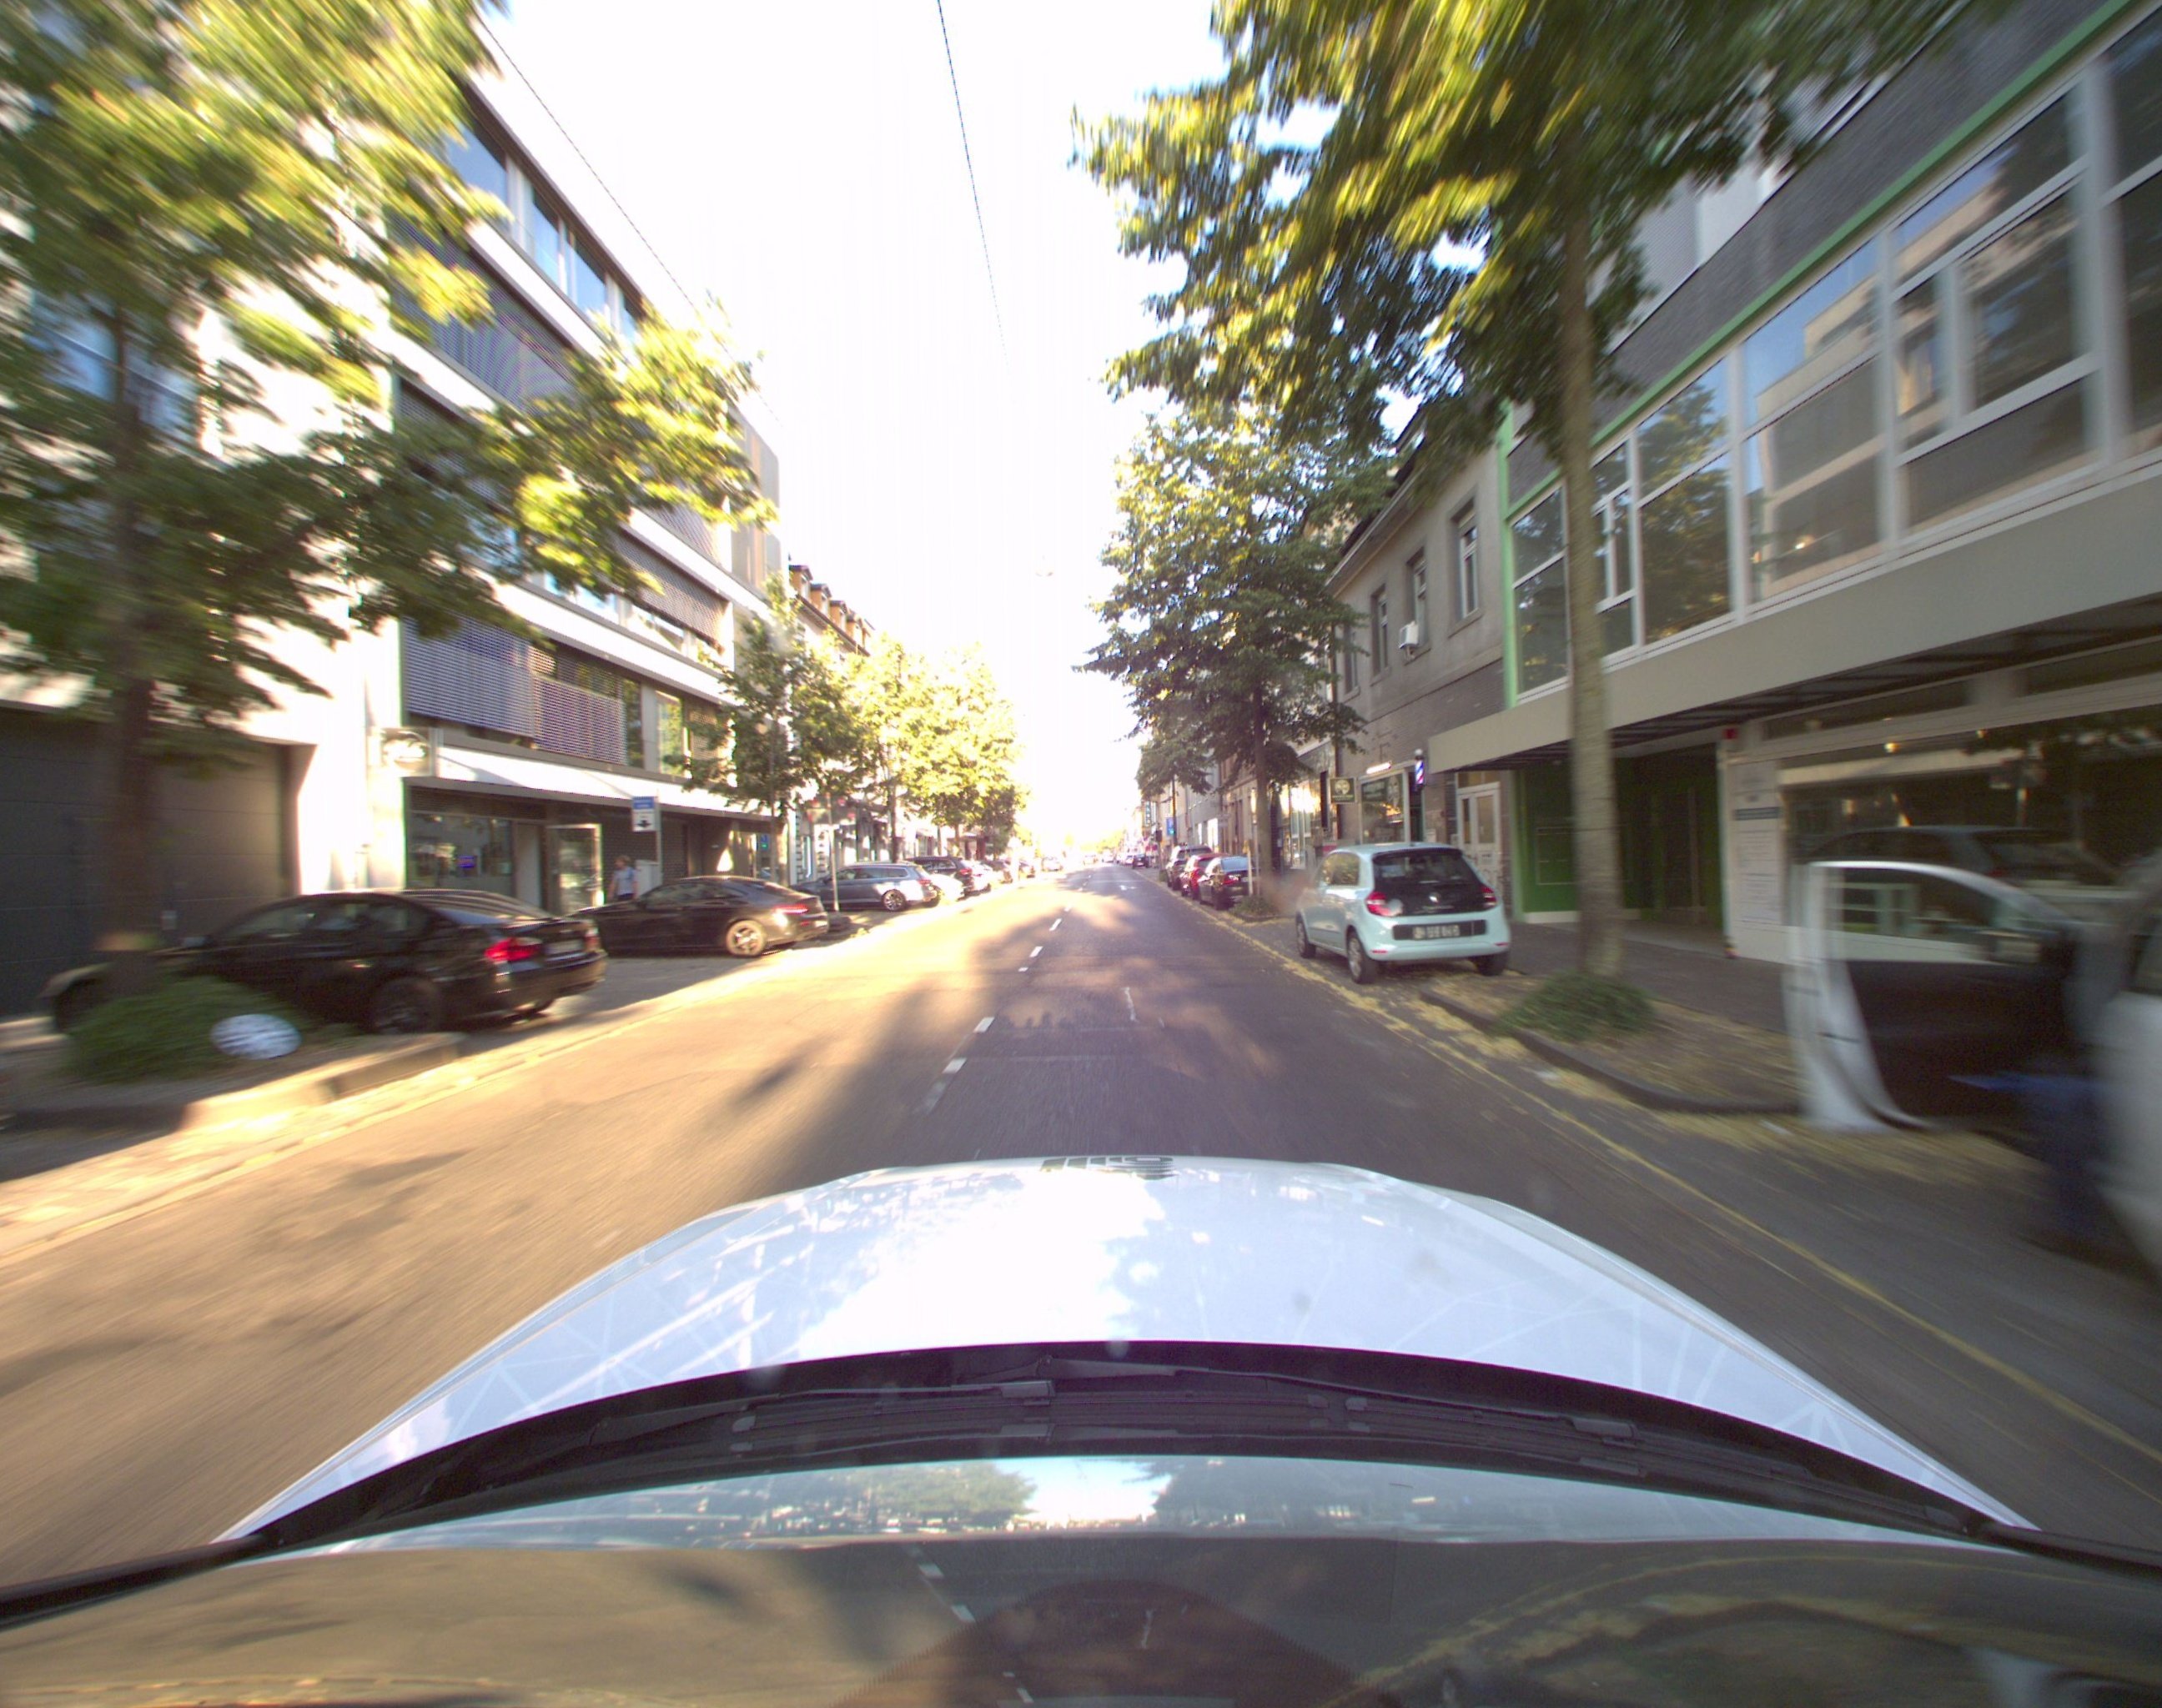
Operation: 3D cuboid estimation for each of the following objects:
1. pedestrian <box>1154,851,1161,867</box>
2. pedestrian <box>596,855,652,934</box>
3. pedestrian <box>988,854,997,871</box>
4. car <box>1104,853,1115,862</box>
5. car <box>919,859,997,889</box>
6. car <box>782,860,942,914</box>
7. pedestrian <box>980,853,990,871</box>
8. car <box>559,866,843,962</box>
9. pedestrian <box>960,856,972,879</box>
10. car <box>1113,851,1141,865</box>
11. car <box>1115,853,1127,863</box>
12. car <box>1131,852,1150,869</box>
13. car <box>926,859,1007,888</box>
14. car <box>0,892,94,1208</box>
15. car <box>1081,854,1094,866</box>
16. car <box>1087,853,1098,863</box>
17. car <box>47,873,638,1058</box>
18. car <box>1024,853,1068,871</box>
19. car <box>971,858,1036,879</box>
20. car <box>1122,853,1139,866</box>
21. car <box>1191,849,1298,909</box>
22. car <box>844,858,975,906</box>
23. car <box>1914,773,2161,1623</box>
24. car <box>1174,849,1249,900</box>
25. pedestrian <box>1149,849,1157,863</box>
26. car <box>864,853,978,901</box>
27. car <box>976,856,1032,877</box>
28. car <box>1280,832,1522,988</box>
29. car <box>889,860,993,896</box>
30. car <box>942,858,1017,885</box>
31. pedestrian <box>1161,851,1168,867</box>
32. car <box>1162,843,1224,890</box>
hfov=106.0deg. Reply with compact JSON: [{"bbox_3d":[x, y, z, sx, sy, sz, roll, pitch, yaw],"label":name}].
[{"bbox_3d":[7.789,0.465,82.912,0.602,1.599,0.774,-2,0,0],"label":"pedestrian"},{"bbox_3d":[-10.433,0.905,18.619,0.716,1.749,0.934,0,0,2],"label":"pedestrian"},{"bbox_3d":[-8.022,0.771,74.000,0.731,1.528,0.876,-1,-2,2],"label":"pedestrian"},{"bbox_3d":[5.205,0.695,148.986,1.890,1.581,4.001,-1,0,1],"label":"car"},{"bbox_3d":[-6.296,1.031,42.047,3.727,1.444,1.805,-1,0,-2],"label":"car"},{"bbox_3d":[-6.784,1.012,25.631,4.537,1.484,1.742,-2,0,-3],"label":"car"},{"bbox_3d":[-8.689,0.739,73.914,0.769,1.608,0.876,-1,-2,2],"label":"pedestrian"},{"bbox_3d":[-6.740,1.041,14.752,4.258,1.484,1.745,-2,0,1],"label":"car"},{"bbox_3d":[-8.635,1.024,61.190,0.769,1.721,0.876,-1,-2,2],"label":"pedestrian"},{"bbox_3d":[6.057,0.562,108.399,2.001,1.761,4.433,-2,0,-21],"label":"car"},{"bbox_3d":[6.607,0.657,134.659,1.723,1.651,4.285,-1,0,1],"label":"car"},{"bbox_3d":[5.968,0.626,82.016,1.752,1.536,4.003,-5,0,3],"label":"car"},{"bbox_3d":[-6.284,1.069,44.816,4.080,1.403,1.845,-2,0,3],"label":"car"},{"bbox_3d":[-7.369,1.046,3.563,3.855,1.567,1.743,-2,0,-1],"label":"car"},{"bbox_3d":[0.950,0.895,123.583,1.890,1.649,4.105,-2,0,1],"label":"car"},{"bbox_3d":[2.081,0.665,142.847,1.890,1.649,4.105,-2,0,1],"label":"car"},{"bbox_3d":[-7.105,1.019,8.204,4.262,1.484,1.743,-2,0,-1],"label":"car"},{"bbox_3d":[-3.538,0.809,82.134,4.404,1.692,1.879,-2,1,44],"label":"car"},{"bbox_3d":[-5.616,1.028,59.520,4.556,1.407,1.821,-1,0,0],"label":"car"},{"bbox_3d":[6.138,0.725,100.782,1.753,1.536,4.820,0,-1,0],"label":"car"},{"bbox_3d":[4.448,0.629,22.845,1.946,1.390,4.422,-4,0,-1],"label":"car"},{"bbox_3d":[-6.249,1.002,30.017,4.391,1.596,1.890,-1,0,0],"label":"car"},{"bbox_3d":[3.809,0.524,2.359,1.644,1.584,3.646,-4,0,42],"label":"car"},{"bbox_3d":[4.304,0.648,27.433,1.724,1.487,3.898,-4,0,-1],"label":"car"},{"bbox_3d":[9.173,0.267,103.788,0.770,1.711,1.042,-4,0,1],"label":"pedestrian"},{"bbox_3d":[-6.282,0.878,32.394,4.137,1.773,1.889,-1,0,-1],"label":"car"},{"bbox_3d":[-5.932,0.952,62.855,4.058,1.536,1.885,-1,0,1],"label":"car"},{"bbox_3d":[3.839,0.590,10.443,1.685,1.543,3.554,-4,0,1],"label":"car"},{"bbox_3d":[-5.992,1.017,35.214,4.137,1.421,1.766,-1,0,-1],"label":"car"},{"bbox_3d":[-5.837,0.998,47.110,4.094,1.403,1.883,-1,0,-1],"label":"car"},{"bbox_3d":[8.514,0.470,82.940,0.602,1.599,0.774,-2,0,0],"label":"pedestrian"},{"bbox_3d":[4.650,0.487,34.440,2.031,1.737,4.714,-4,0,2],"label":"car"}]
